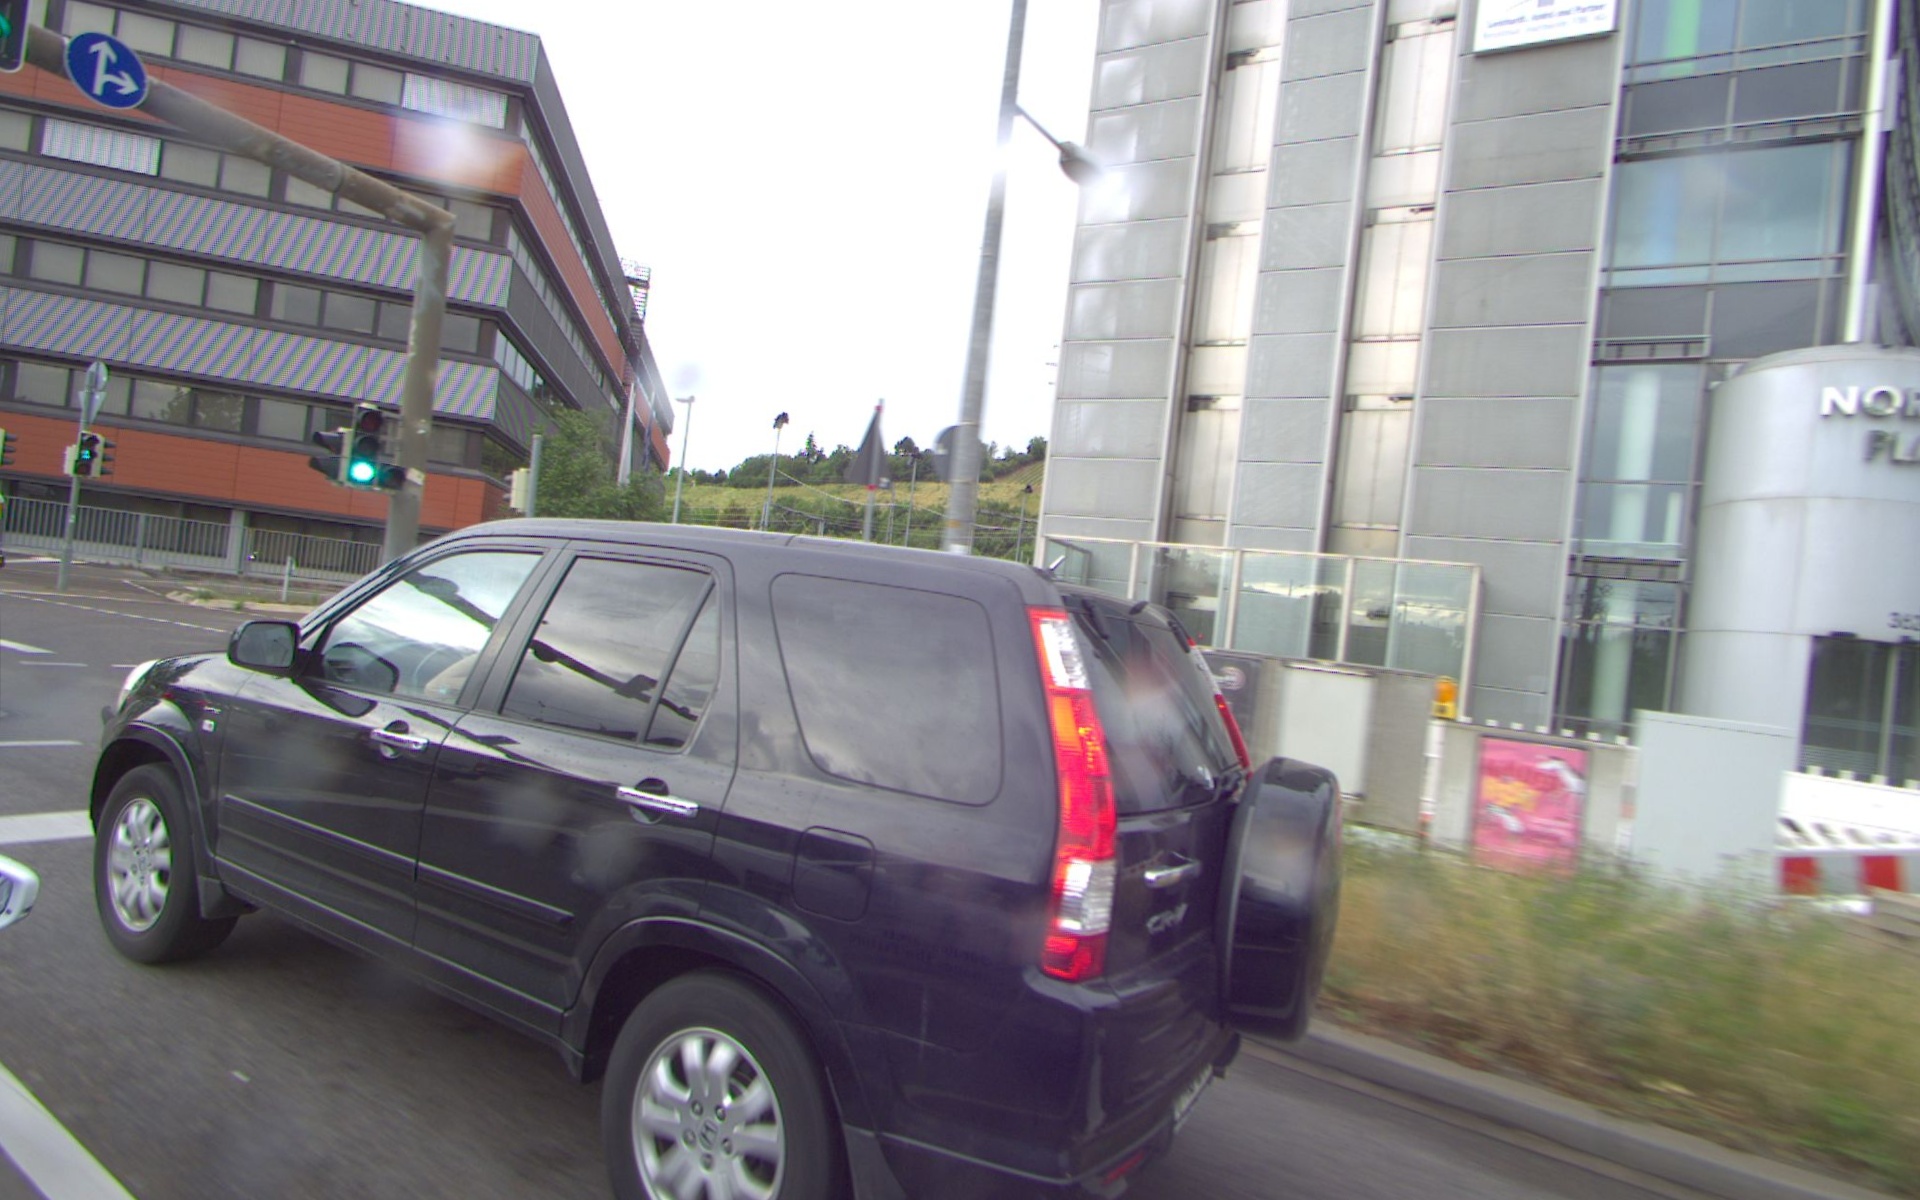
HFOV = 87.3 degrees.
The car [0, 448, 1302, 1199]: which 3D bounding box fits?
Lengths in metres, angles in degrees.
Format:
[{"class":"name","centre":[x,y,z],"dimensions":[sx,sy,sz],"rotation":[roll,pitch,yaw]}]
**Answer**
[{"class":"car","centre":[-1.241,0.551,3.514],"dimensions":[4.250,1.647,1.772],"rotation":[6,-4,28]}]

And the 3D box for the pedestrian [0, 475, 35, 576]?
[{"class":"pedestrian","centre":[-21.607,-1.720,22.317],"dimensions":[1.202,2.152,1.145],"rotation":[8,1,32]}]

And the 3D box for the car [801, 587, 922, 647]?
[{"class":"car","centre":[-4.176,0.767,43.231],"dimensions":[1.973,1.937,5.063],"rotation":[4,-4,41]}]
